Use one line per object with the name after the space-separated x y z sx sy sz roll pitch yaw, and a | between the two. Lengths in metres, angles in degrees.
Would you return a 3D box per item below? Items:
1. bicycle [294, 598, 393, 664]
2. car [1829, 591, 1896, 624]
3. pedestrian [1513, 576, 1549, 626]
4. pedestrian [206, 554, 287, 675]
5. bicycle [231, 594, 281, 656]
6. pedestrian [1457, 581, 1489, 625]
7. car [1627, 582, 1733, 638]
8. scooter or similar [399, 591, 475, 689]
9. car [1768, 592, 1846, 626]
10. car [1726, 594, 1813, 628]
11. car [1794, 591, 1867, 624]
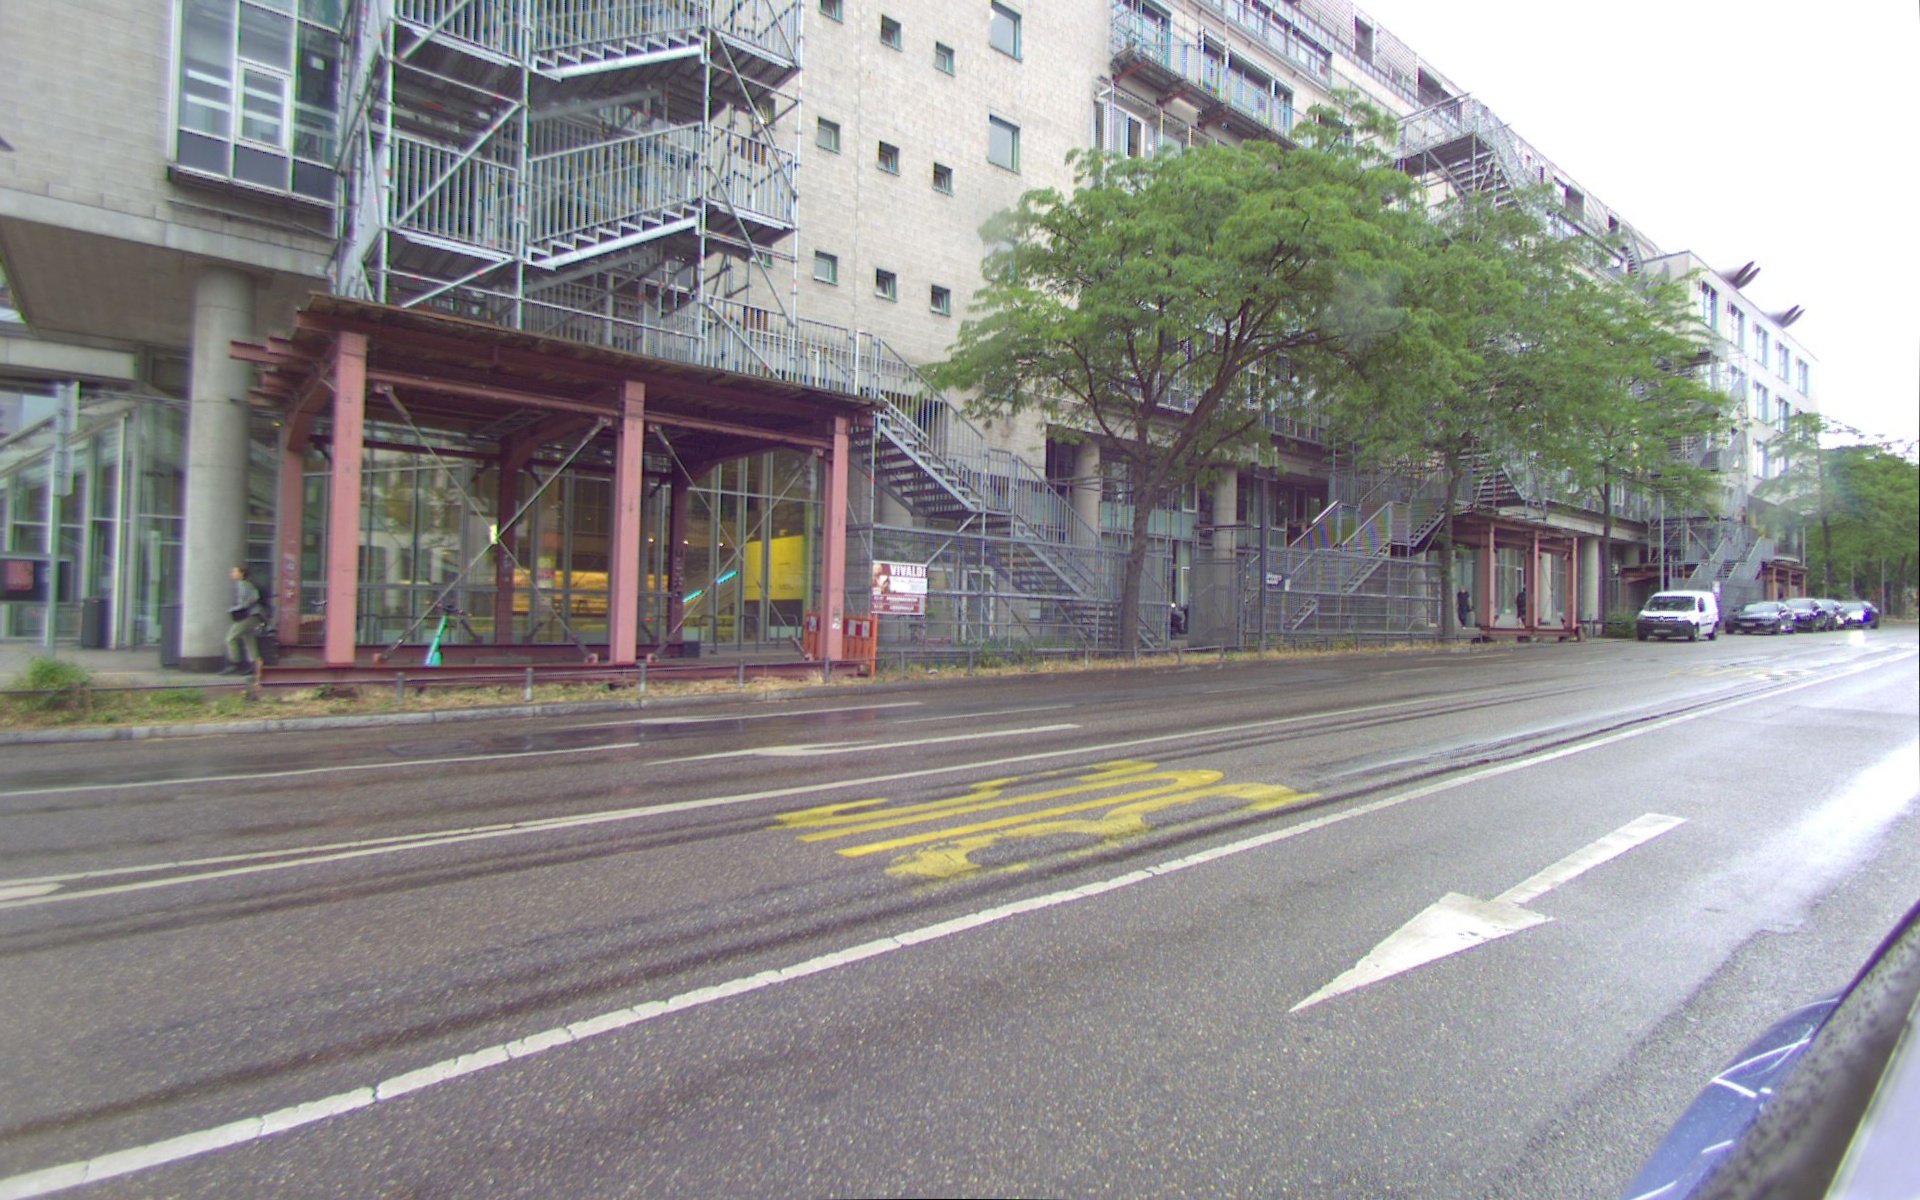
-11.993 0.574 19.730 0.580 1.209 1.602 0 0 24 | bicycle
48.924 0.360 54.850 4.733 1.667 2.145 -1 0 -41 | car
23.739 0.038 42.102 1.021 2.039 1.009 0 0 -41 | pedestrian
-11.023 0.210 15.641 0.774 1.798 0.783 0 0 31 | pedestrian
-14.393 0.494 20.668 0.577 1.209 1.611 0 0 -44 | bicycle
21.749 0.114 42.894 0.832 1.822 1.008 0 0 -44 | pedestrian
26.059 0.313 36.584 4.254 1.930 2.211 -1 0 -41 | car
-6.945 0.488 13.406 0.576 1.209 1.782 1 0 -38 | scooter or similar
40.240 0.399 48.063 4.733 1.513 2.145 -1 1 -41 | car
35.084 0.432 43.812 4.733 1.353 2.145 -1 1 -41 | car
44.351 0.371 51.525 4.733 1.580 2.145 -1 1 -41 | car
